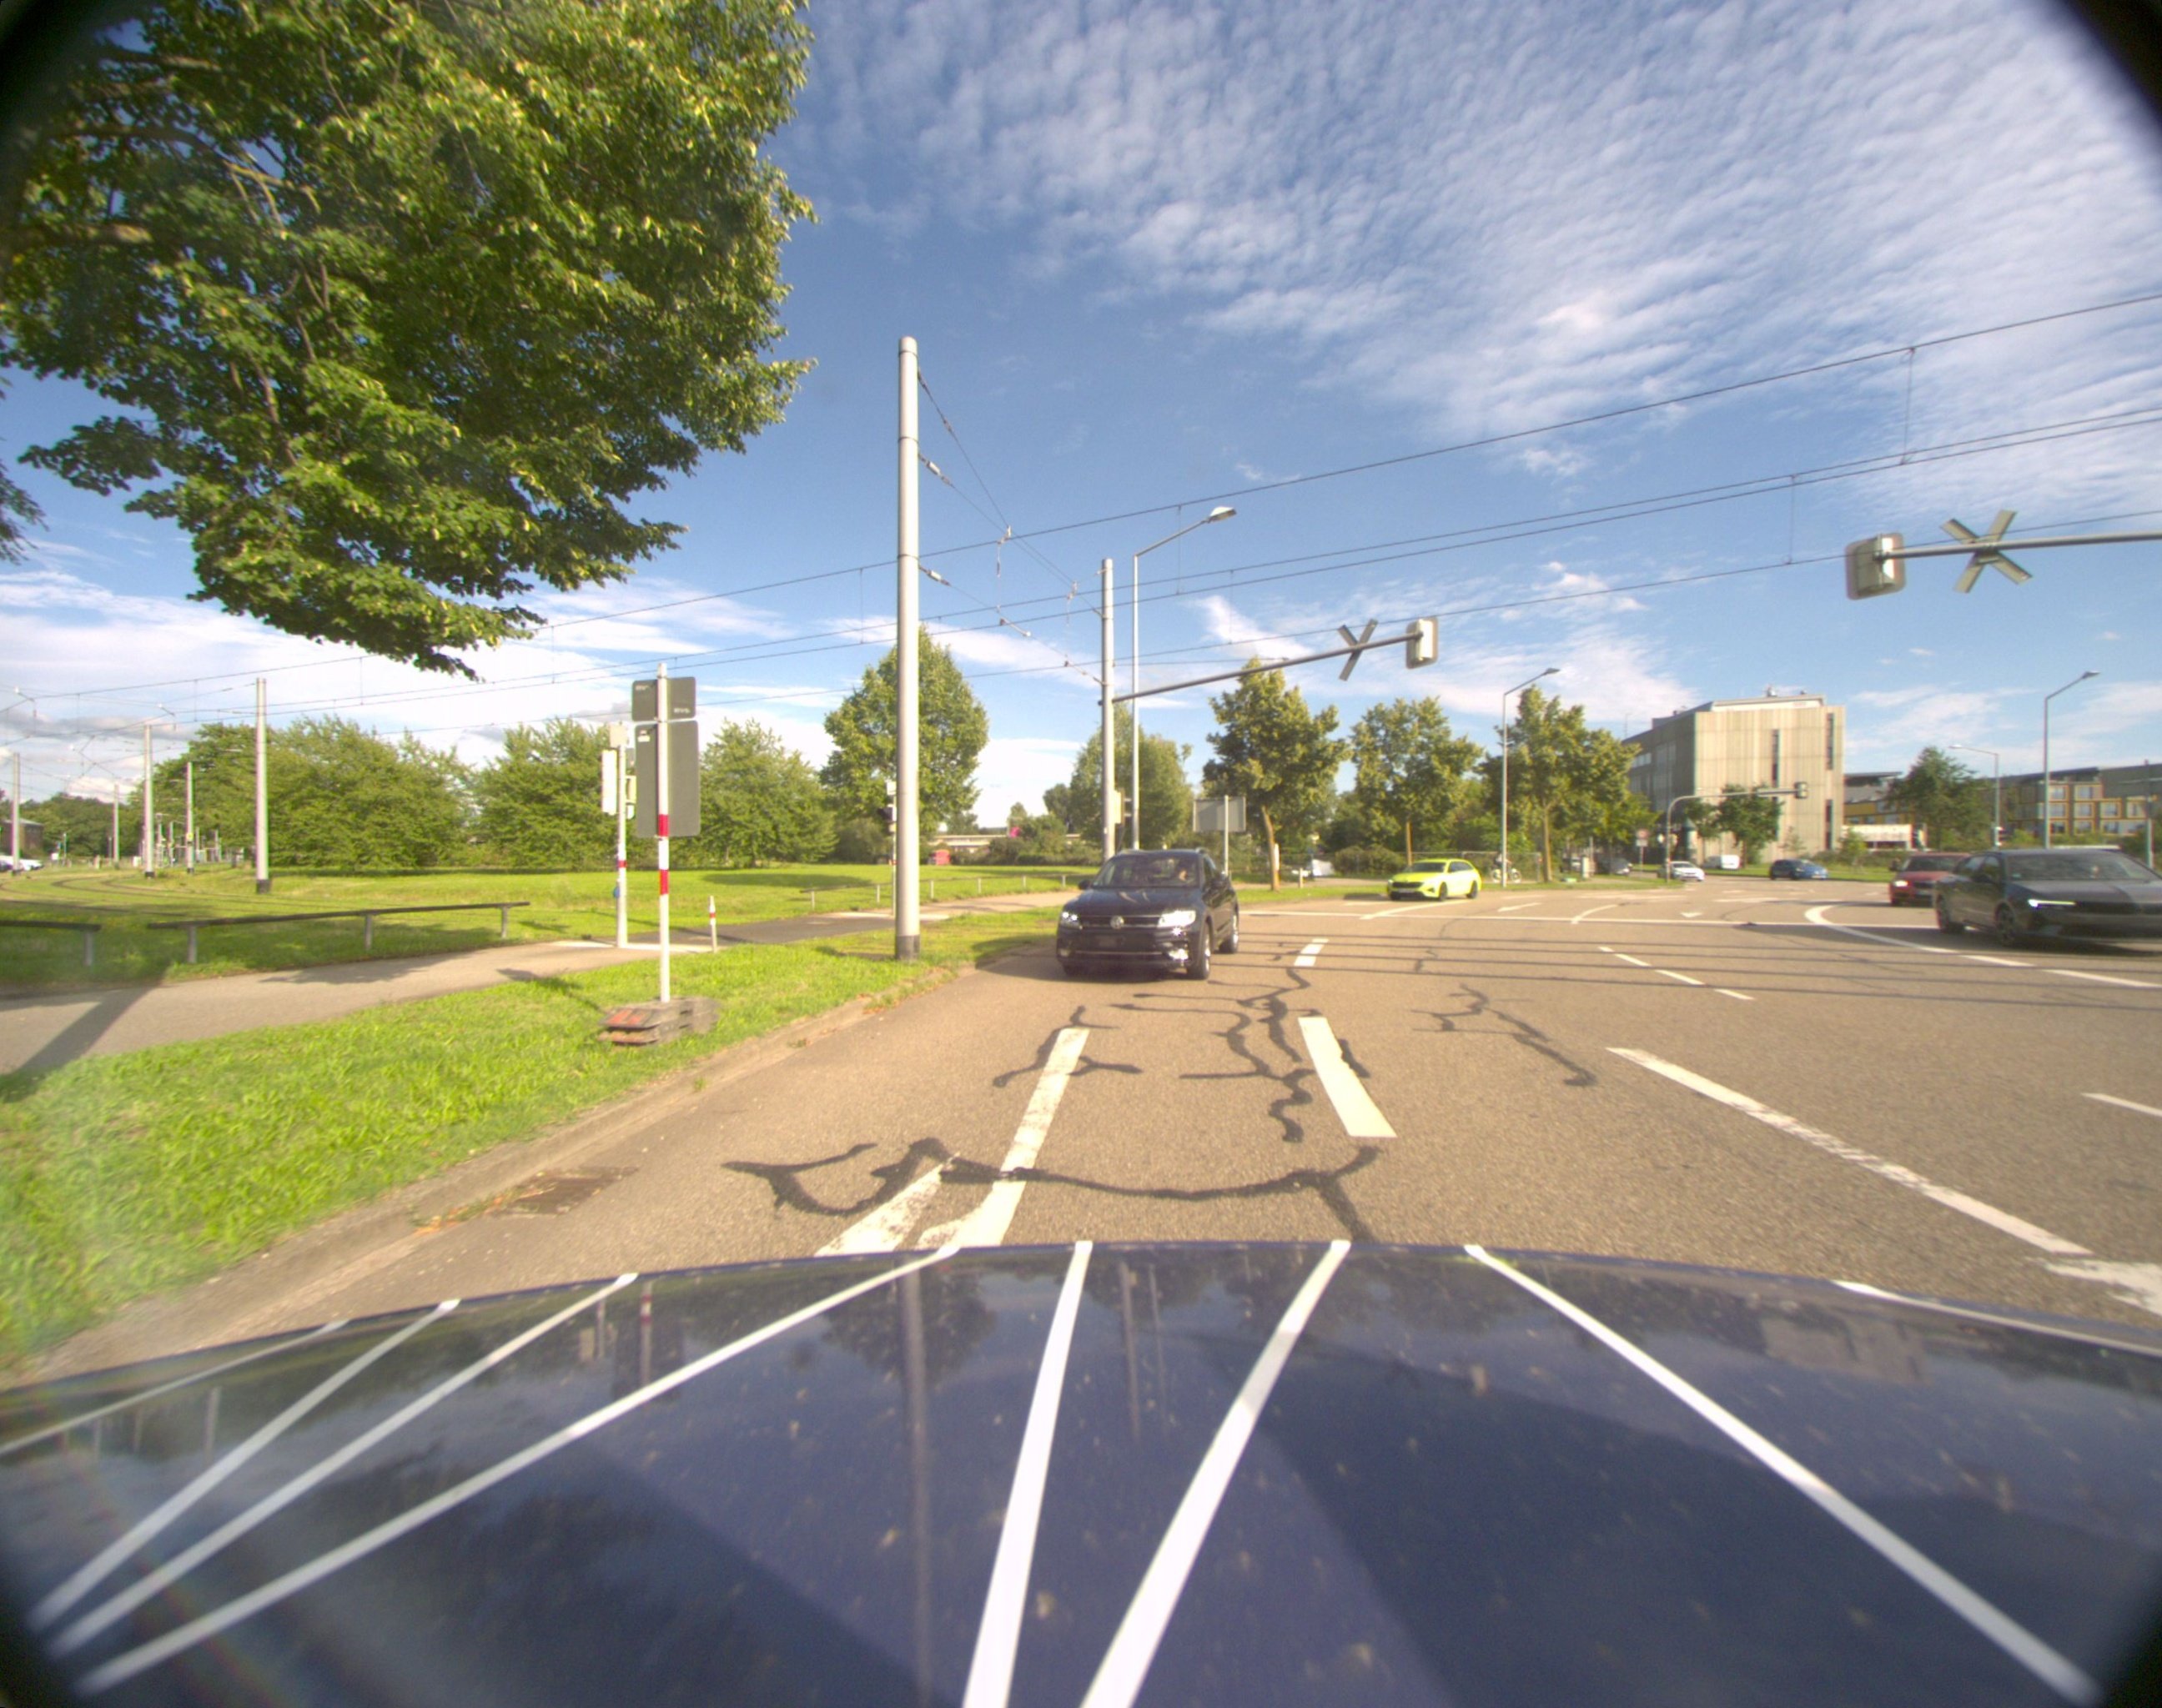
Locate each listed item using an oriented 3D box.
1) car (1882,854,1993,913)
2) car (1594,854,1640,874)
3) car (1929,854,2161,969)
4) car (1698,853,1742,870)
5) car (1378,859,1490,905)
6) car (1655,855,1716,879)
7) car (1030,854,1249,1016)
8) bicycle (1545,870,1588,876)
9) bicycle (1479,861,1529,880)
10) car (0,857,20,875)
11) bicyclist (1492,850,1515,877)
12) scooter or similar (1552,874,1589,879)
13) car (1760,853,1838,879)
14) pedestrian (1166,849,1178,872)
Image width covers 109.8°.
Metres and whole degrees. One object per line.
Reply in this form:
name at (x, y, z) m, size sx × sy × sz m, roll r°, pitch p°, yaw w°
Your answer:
car at (23.708, 0.742, 21.174) m, size 1.690 × 1.466 × 4.236 m, roll 0°, pitch 0°, yaw 44°
car at (48.055, 0.895, 68.271) m, size 1.996 × 1.652 × 4.809 m, roll 0°, pitch 1°, yaw 18°
car at (14.926, 0.744, 11.599) m, size 1.819 × 1.412 × 4.456 m, roll -1°, pitch 0°, yaw 37°
car at (71.164, 0.777, 84.671) m, size 1.682 × 1.814 × 4.566 m, roll 2°, pitch 0°, yaw 12°
car at (12.608, 0.936, 27.033) m, size 4.617 × 1.412 × 1.892 m, roll -1°, pitch 0°, yaw -41°
car at (43.882, 0.898, 55.304) m, size 1.995 × 1.652 × 4.810 m, roll 0°, pitch 0°, yaw 20°
car at (1.132, 0.860, 10.754) m, size 1.869 × 1.685 × 5.022 m, roll 0°, pitch 1°, yaw 19°
bicycle at (32.613, 1.303, 51.076) m, size 1.091 × 0.344 × 2.248 m, roll -1°, pitch -2°, yaw -17°
bicycle at (24.984, 0.970, 44.872) m, size 2.601 × 1.119 × 0.803 m, roll 0°, pitch 1°, yaw -6°
car at (-94.292, 1.014, 64.523) m, size 4.476 × 1.532 × 1.855 m, roll 0°, pitch 1°, yaw -32°
bicyclist at (24.946, 0.548, 44.870) m, size 0.905 × 1.538 × 0.803 m, roll 0°, pitch 1°, yaw -8°
scooter or similar at (31.202, 1.441, 48.468) m, size 1.553 × 0.279 × 1.292 m, roll 0°, pitch 0°, yaw -7°
car at (49.287, 0.791, 52.284) m, size 1.996 × 1.652 × 4.809 m, roll 0°, pitch 1°, yaw 18°
pedestrian at (6.923, 0.456, 57.720) m, size 0.595 × 1.722 × 0.669 m, roll 1°, pitch 1°, yaw 41°
